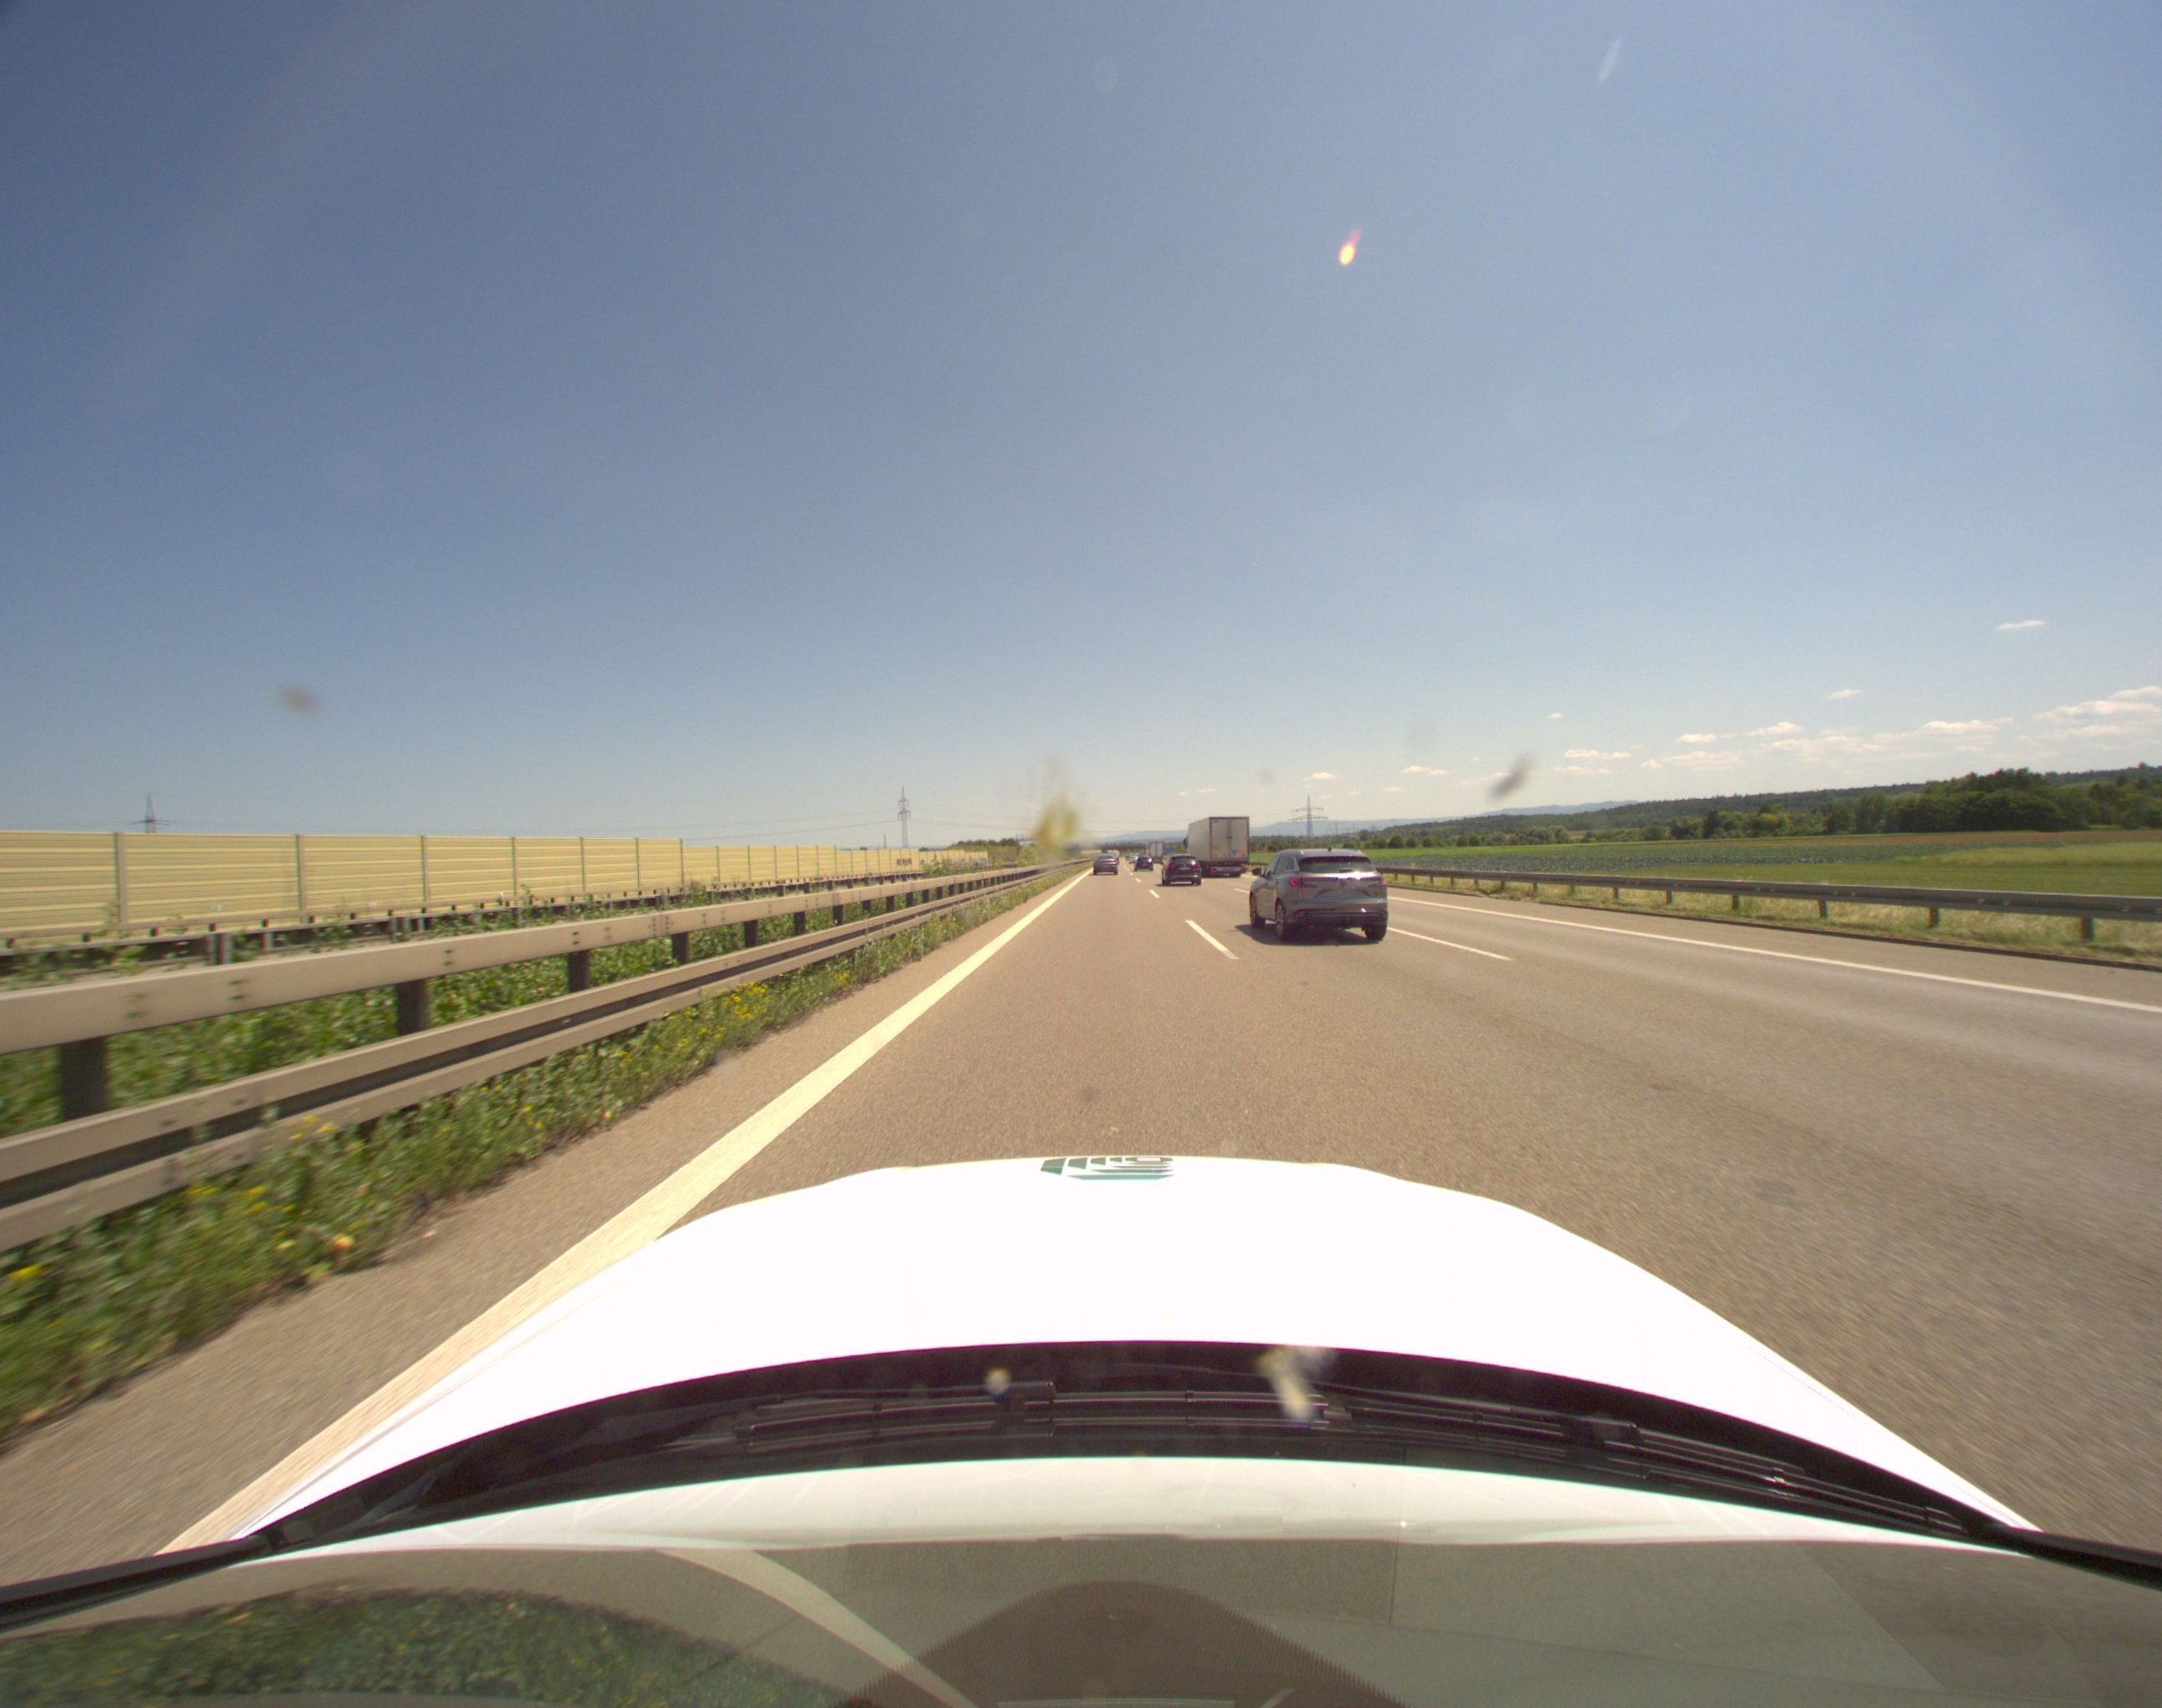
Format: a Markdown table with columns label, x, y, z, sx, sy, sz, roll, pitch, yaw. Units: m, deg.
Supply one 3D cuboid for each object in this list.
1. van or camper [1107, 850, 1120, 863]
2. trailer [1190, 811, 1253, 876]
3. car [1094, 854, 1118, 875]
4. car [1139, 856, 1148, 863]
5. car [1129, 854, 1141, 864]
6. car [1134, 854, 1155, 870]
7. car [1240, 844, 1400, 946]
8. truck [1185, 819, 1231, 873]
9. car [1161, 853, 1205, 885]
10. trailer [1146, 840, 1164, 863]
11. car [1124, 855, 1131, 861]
| label | x | y | z | sx | sy | sz | roll | pitch | yaw |
| --- | --- | --- | --- | --- | --- | --- | --- | --- | --- |
| van or camper | 5.707 | 0.501 | 142.308 | 2.102 | 2.211 | 5.269 | 0 | -1 | 3 |
| trailer | 9.899 | -0.606 | 59.063 | 2.856 | 4.220 | 13.302 | 0 | -1 | 3 |
| car | 1.988 | 0.822 | 66.568 | 1.845 | 1.664 | 3.734 | 0 | -1 | 0 |
| car | 14.730 | 1.259 | 192.117 | 1.985 | 1.683 | 4.003 | 0 | -1 | 3 |
| car | 9.522 | 0.857 | 143.789 | 1.985 | 1.683 | 4.003 | 0 | -1 | 3 |
| car | 6.283 | 0.773 | 81.351 | 1.925 | 1.574 | 4.937 | 0 | -1 | 3 |
| car | 4.374 | 0.661 | 15.711 | 1.844 | 1.648 | 4.647 | -1 | 0 | 2 |
| truck | 10.182 | -0.595 | 65.749 | 2.851 | 4.091 | 6.882 | 0 | -1 | 2 |
| car | 5.177 | 0.741 | 41.730 | 1.791 | 1.562 | 3.823 | 0 | -1 | 0 |
| trailer | 13.968 | -0.327 | 154.193 | 2.931 | 4.198 | 13.607 | 0 | -1 | 3 |
| car | 13.065 | 1.095 | 228.158 | 1.985 | 1.683 | 4.003 | 0 | -1 | 3 |
